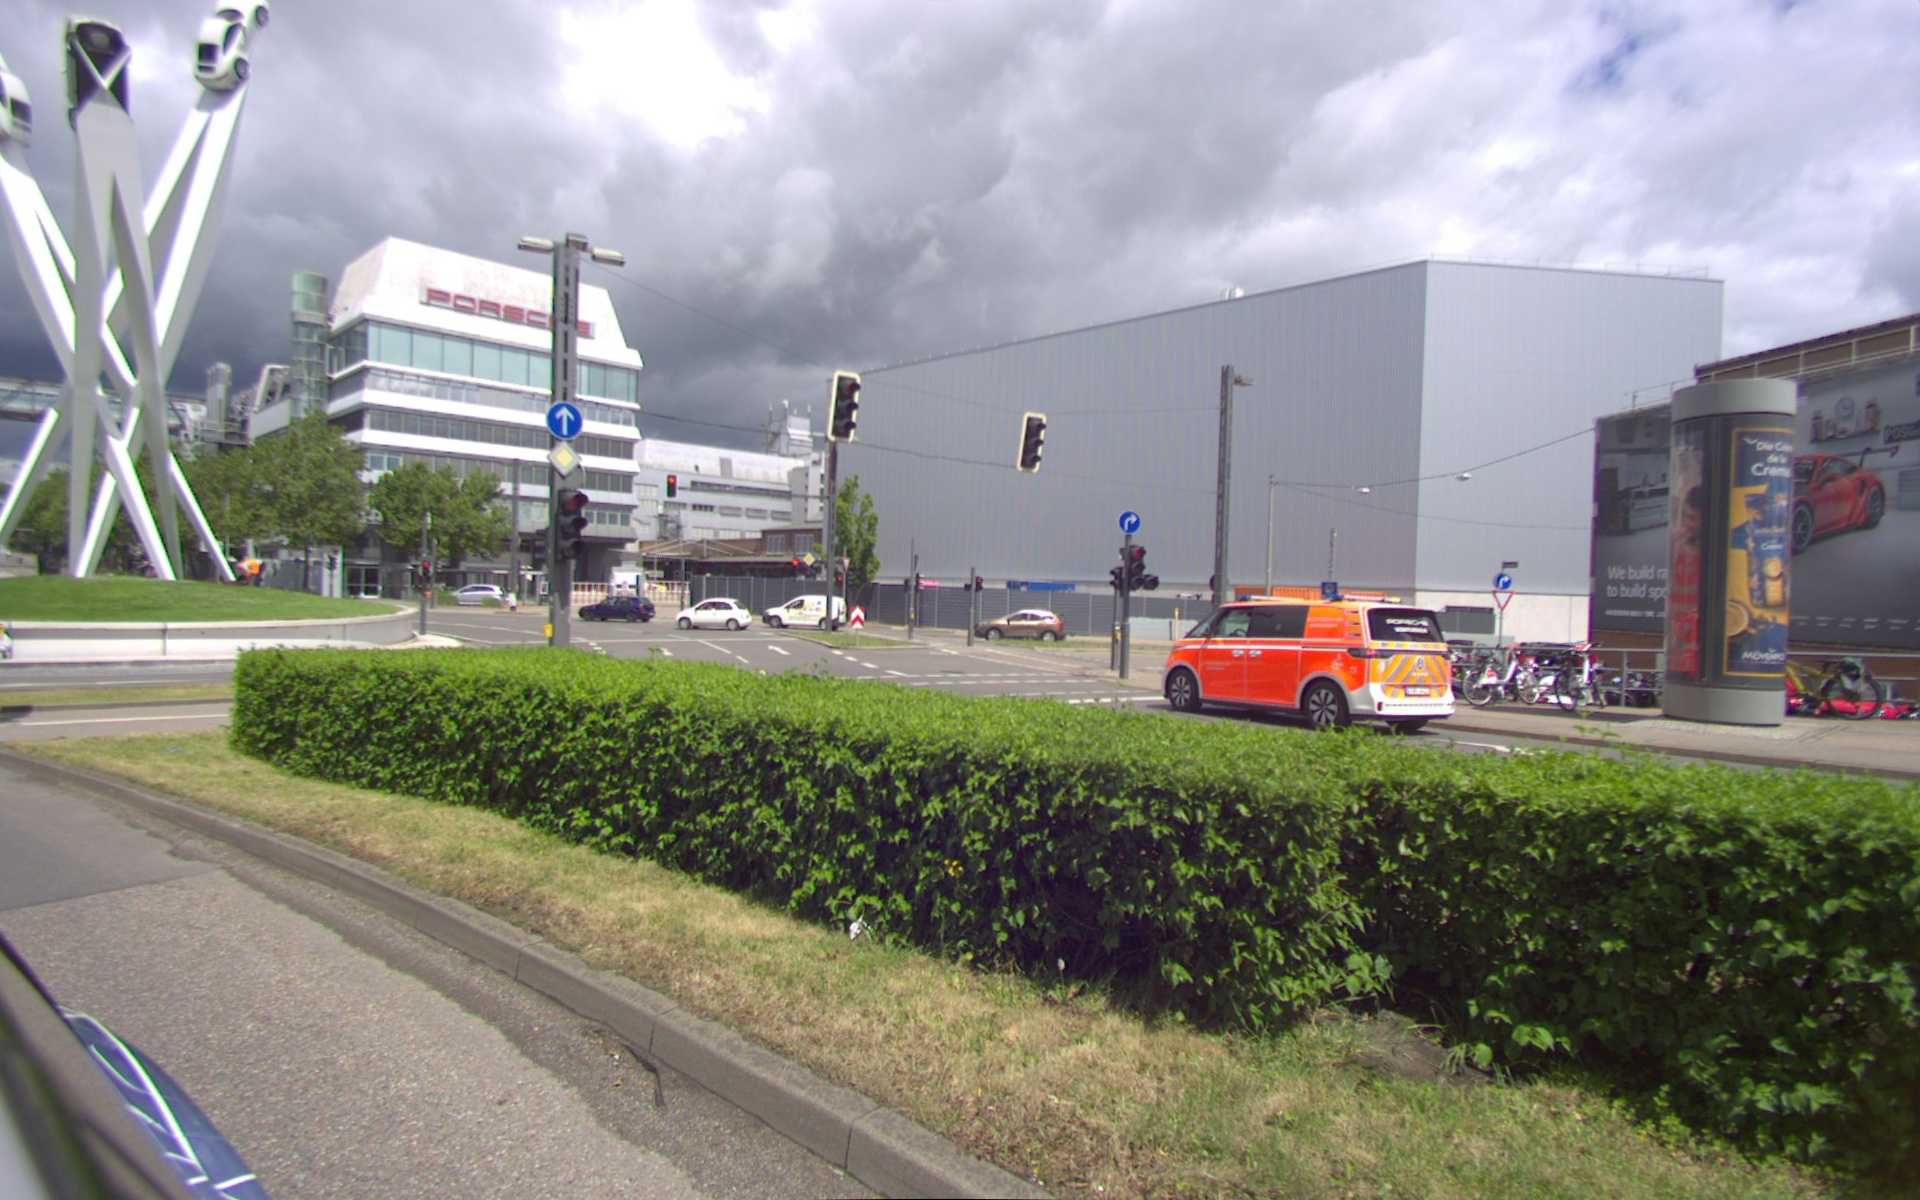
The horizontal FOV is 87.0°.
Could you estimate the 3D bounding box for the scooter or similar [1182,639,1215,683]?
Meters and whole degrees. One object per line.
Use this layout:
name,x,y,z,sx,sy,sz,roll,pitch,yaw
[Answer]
scooter or similar,6.617,1.685,28.092,0.495,1.190,1.632,1,-3,-1

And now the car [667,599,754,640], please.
car,-12.116,0.920,49.311,3.725,1.810,1.911,1,2,2

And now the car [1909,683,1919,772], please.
car,21.864,2.698,21.334,3.423,1.817,1.710,0,2,-30

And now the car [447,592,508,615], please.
car,-34.316,0.256,72.065,3.552,1.493,1.816,1,2,-8

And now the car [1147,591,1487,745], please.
car,5.293,0.946,15.770,1.966,1.998,4.852,4,-2,-29

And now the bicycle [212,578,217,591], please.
bicycle,-62.319,-1.303,84.629,0.292,1.013,1.255,0,3,-35

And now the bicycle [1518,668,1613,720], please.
bicycle,12.722,1.958,21.296,0.485,0.873,1.613,-1,3,-43

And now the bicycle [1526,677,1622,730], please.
bicycle,12.364,2.071,20.401,1.607,0.873,0.487,3,3,35

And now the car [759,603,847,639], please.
car,-8.278,1.089,53.609,4.240,1.636,1.996,1,2,8

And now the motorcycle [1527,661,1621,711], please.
motorcycle,17.703,2.449,29.158,2.862,1.204,0.923,0,2,-28

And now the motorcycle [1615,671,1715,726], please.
motorcycle,18.664,2.566,26.776,2.862,1.204,0.923,0,2,-28

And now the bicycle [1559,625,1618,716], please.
bicycle,10.610,1.161,17.066,0.493,1.393,1.588,3,3,43

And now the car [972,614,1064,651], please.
car,2.728,1.542,48.415,4.173,1.556,1.815,1,2,-4

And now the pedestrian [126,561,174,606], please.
pedestrian,-34.902,-0.708,43.607,0.982,1.830,1.274,2,-1,28

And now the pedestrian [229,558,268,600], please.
pedestrian,-26.069,-0.786,37.115,0.841,1.417,0.968,7,-1,-24

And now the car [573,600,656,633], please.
car,-18.722,0.890,54.953,3.912,1.568,1.799,1,2,8

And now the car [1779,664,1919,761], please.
car,20.640,2.521,23.281,3.423,1.798,1.635,0,3,-30

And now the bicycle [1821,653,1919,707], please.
bicycle,15.901,1.369,17.416,1.608,0.873,0.486,-2,-2,38

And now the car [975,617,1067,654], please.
car,2.888,1.680,48.315,4.162,1.568,1.827,1,2,-3

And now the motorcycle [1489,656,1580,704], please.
motorcycle,17.167,2.369,30.220,2.862,1.204,0.923,0,2,-28

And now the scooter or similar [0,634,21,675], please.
scooter or similar,-21.244,1.172,21.776,1.240,0.854,0.911,1,0,-14

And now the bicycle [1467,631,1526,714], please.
bicycle,9.518,1.261,17.930,0.493,1.326,1.588,3,3,43

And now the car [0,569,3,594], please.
car,-81.382,-1.561,84.567,1.846,1.970,4.715,-2,4,-45

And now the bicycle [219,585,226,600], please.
bicycle,-58.118,-0.577,79.749,0.293,1.140,1.487,-1,3,-43
